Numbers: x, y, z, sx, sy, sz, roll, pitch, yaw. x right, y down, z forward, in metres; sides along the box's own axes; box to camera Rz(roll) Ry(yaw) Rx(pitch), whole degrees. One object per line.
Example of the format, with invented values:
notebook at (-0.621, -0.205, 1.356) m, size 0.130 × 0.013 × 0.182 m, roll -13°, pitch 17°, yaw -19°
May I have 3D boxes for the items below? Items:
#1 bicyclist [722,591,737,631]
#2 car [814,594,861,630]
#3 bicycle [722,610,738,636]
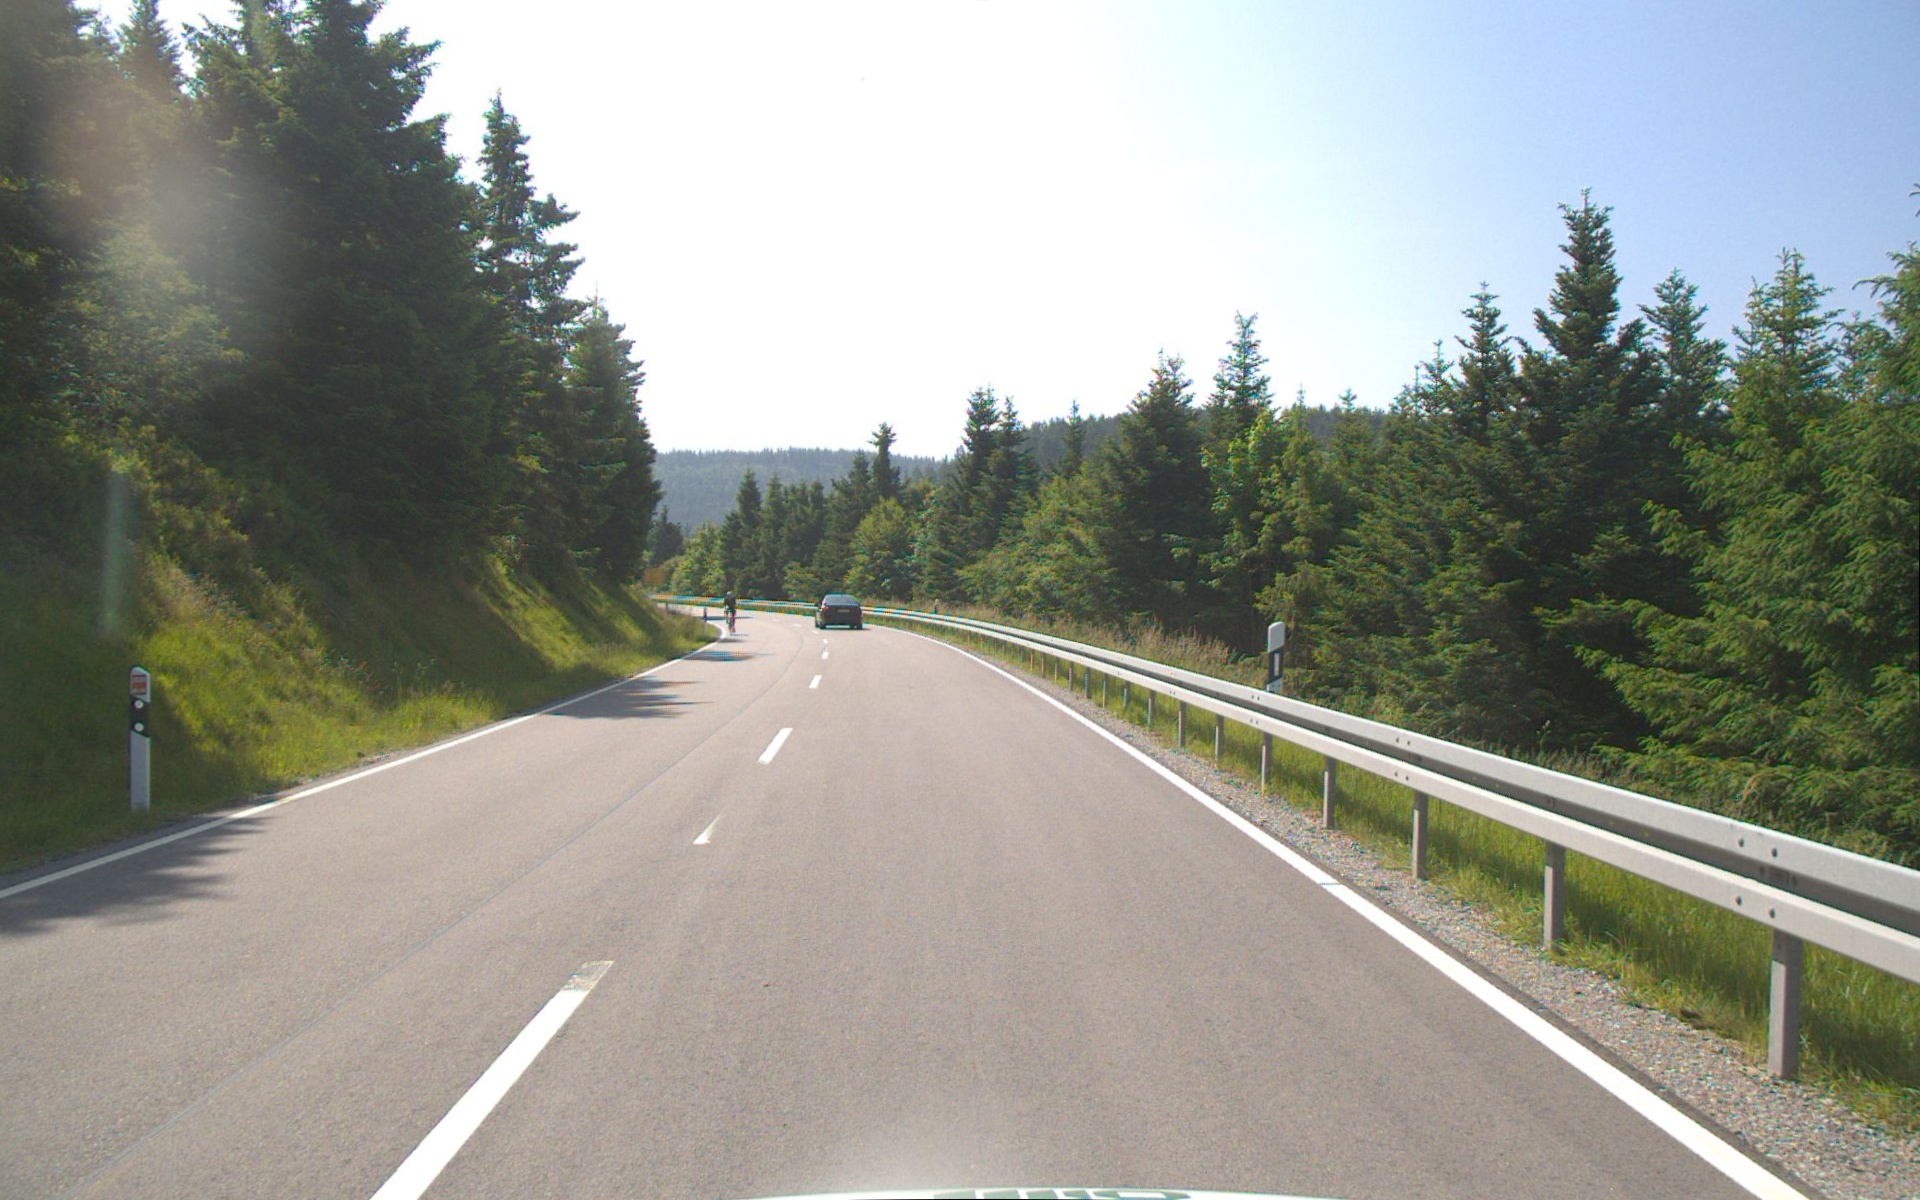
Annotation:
bicyclist at (-8.615, 0.416, 61.898) m, size 0.531 × 1.476 × 0.982 m, roll -1°, pitch 0°, yaw -8°
car at (-5.181, 0.485, 69.691) m, size 1.743 × 1.467 × 3.702 m, roll -1°, pitch 0°, yaw -8°
bicycle at (-8.617, 0.853, 62.008) m, size 0.542 × 0.902 × 2.058 m, roll -1°, pitch 0°, yaw -8°
